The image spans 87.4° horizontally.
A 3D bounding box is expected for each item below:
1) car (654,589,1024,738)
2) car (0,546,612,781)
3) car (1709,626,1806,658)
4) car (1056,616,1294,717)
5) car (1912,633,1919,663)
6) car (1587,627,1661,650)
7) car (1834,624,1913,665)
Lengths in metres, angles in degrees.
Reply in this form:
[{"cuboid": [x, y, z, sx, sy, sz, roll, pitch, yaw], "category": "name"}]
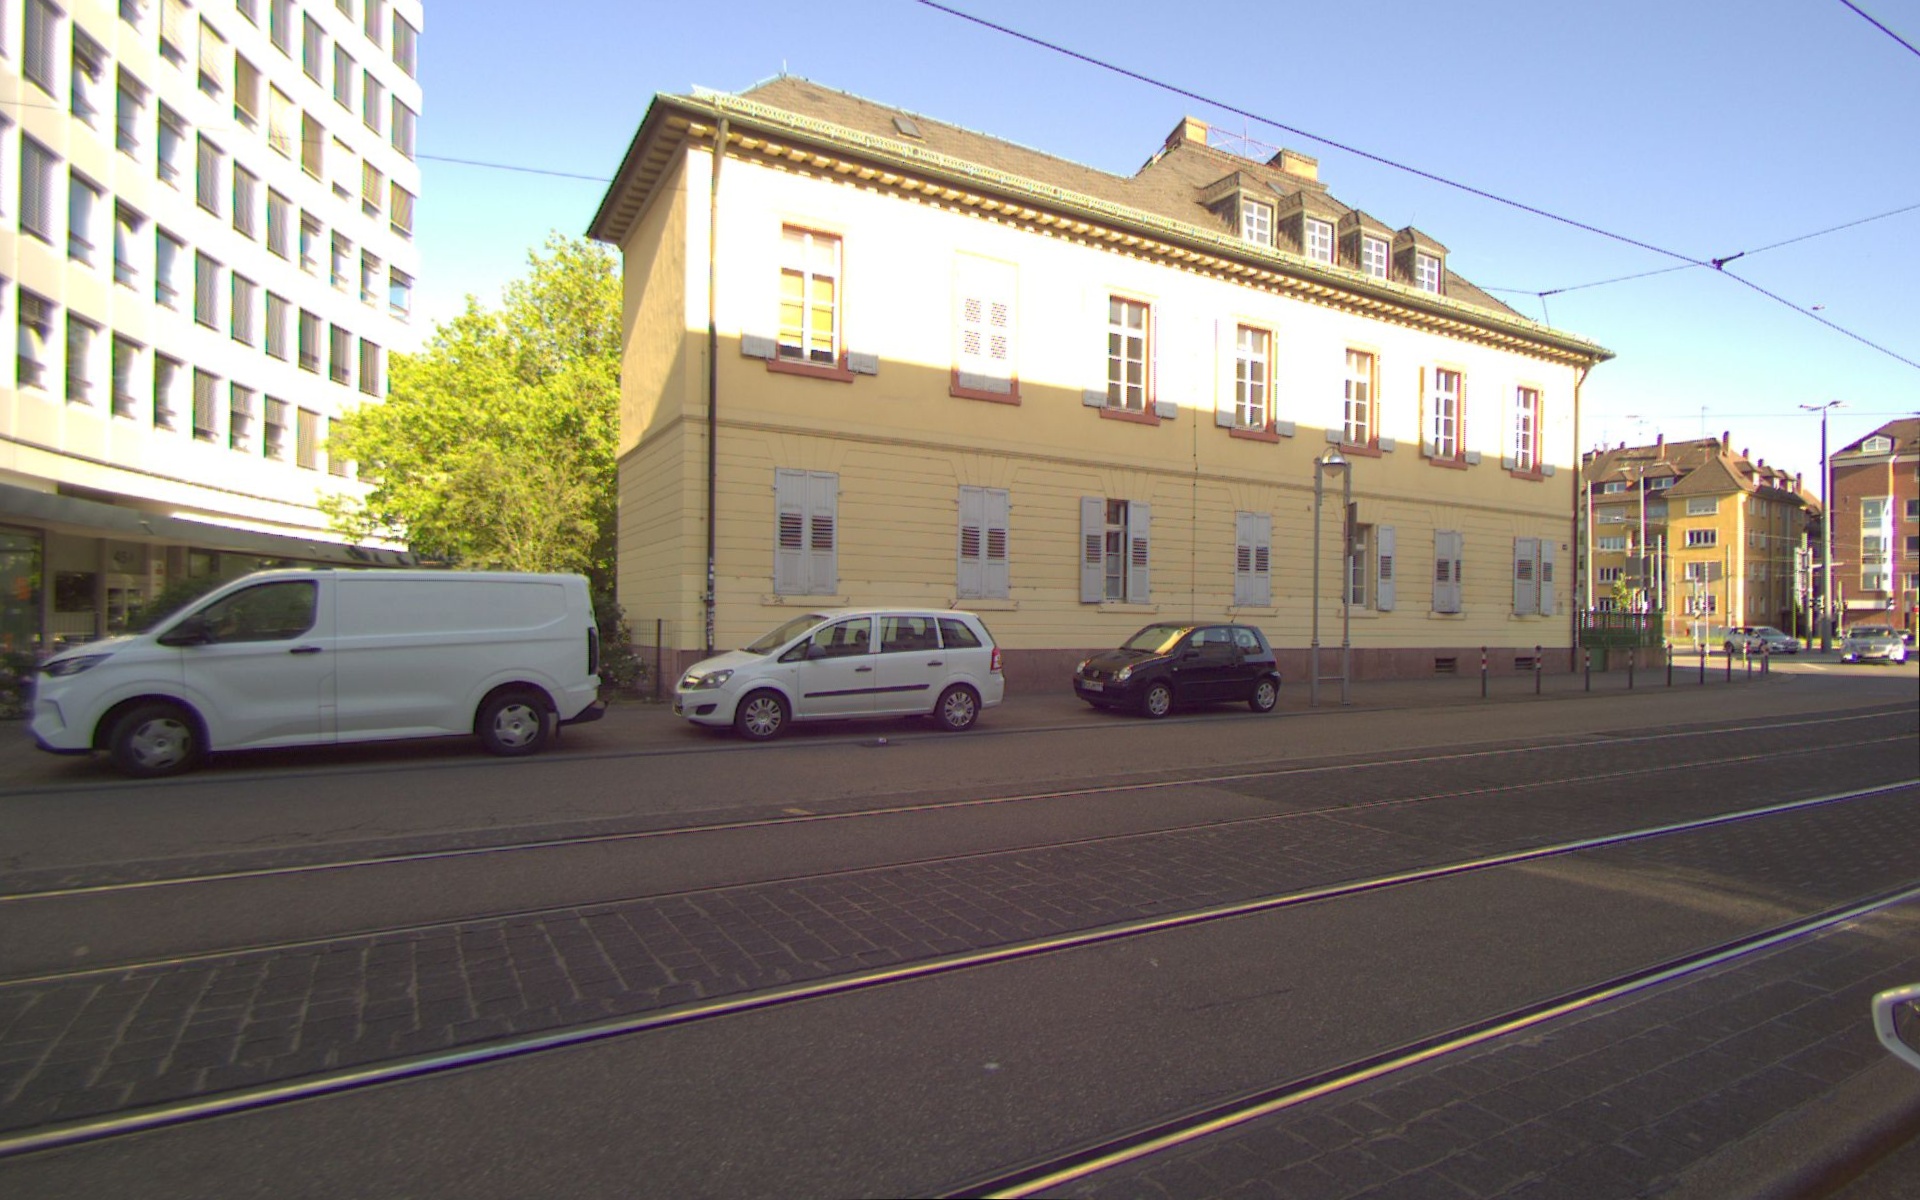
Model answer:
[{"cuboid": [-1.584, 0.796, 13.554, 4.590, 1.708, 1.800, 2, 1, -28], "category": "car"}, {"cuboid": [-6.536, 0.579, 10.680, 5.038, 2.001, 1.983, 2, 1, -31], "category": "car"}, {"cuboid": [47.132, 2.468, 59.497, 1.781, 1.577, 4.604, 2, 1, -6], "category": "car"}, {"cuboid": [3.551, 1.040, 16.456, 3.677, 1.419, 1.606, 2, 1, -31], "category": "car"}, {"cuboid": [51.984, 2.547, 53.396, 4.250, 1.532, 1.747, 2, -1, -43], "category": "car"}, {"cuboid": [48.530, 2.806, 73.450, 1.922, 1.510, 4.113, 2, 0, -38], "category": "car"}, {"cuboid": [35.503, 1.705, 38.996, 4.895, 1.515, 1.863, 2, -2, -43], "category": "car"}]
